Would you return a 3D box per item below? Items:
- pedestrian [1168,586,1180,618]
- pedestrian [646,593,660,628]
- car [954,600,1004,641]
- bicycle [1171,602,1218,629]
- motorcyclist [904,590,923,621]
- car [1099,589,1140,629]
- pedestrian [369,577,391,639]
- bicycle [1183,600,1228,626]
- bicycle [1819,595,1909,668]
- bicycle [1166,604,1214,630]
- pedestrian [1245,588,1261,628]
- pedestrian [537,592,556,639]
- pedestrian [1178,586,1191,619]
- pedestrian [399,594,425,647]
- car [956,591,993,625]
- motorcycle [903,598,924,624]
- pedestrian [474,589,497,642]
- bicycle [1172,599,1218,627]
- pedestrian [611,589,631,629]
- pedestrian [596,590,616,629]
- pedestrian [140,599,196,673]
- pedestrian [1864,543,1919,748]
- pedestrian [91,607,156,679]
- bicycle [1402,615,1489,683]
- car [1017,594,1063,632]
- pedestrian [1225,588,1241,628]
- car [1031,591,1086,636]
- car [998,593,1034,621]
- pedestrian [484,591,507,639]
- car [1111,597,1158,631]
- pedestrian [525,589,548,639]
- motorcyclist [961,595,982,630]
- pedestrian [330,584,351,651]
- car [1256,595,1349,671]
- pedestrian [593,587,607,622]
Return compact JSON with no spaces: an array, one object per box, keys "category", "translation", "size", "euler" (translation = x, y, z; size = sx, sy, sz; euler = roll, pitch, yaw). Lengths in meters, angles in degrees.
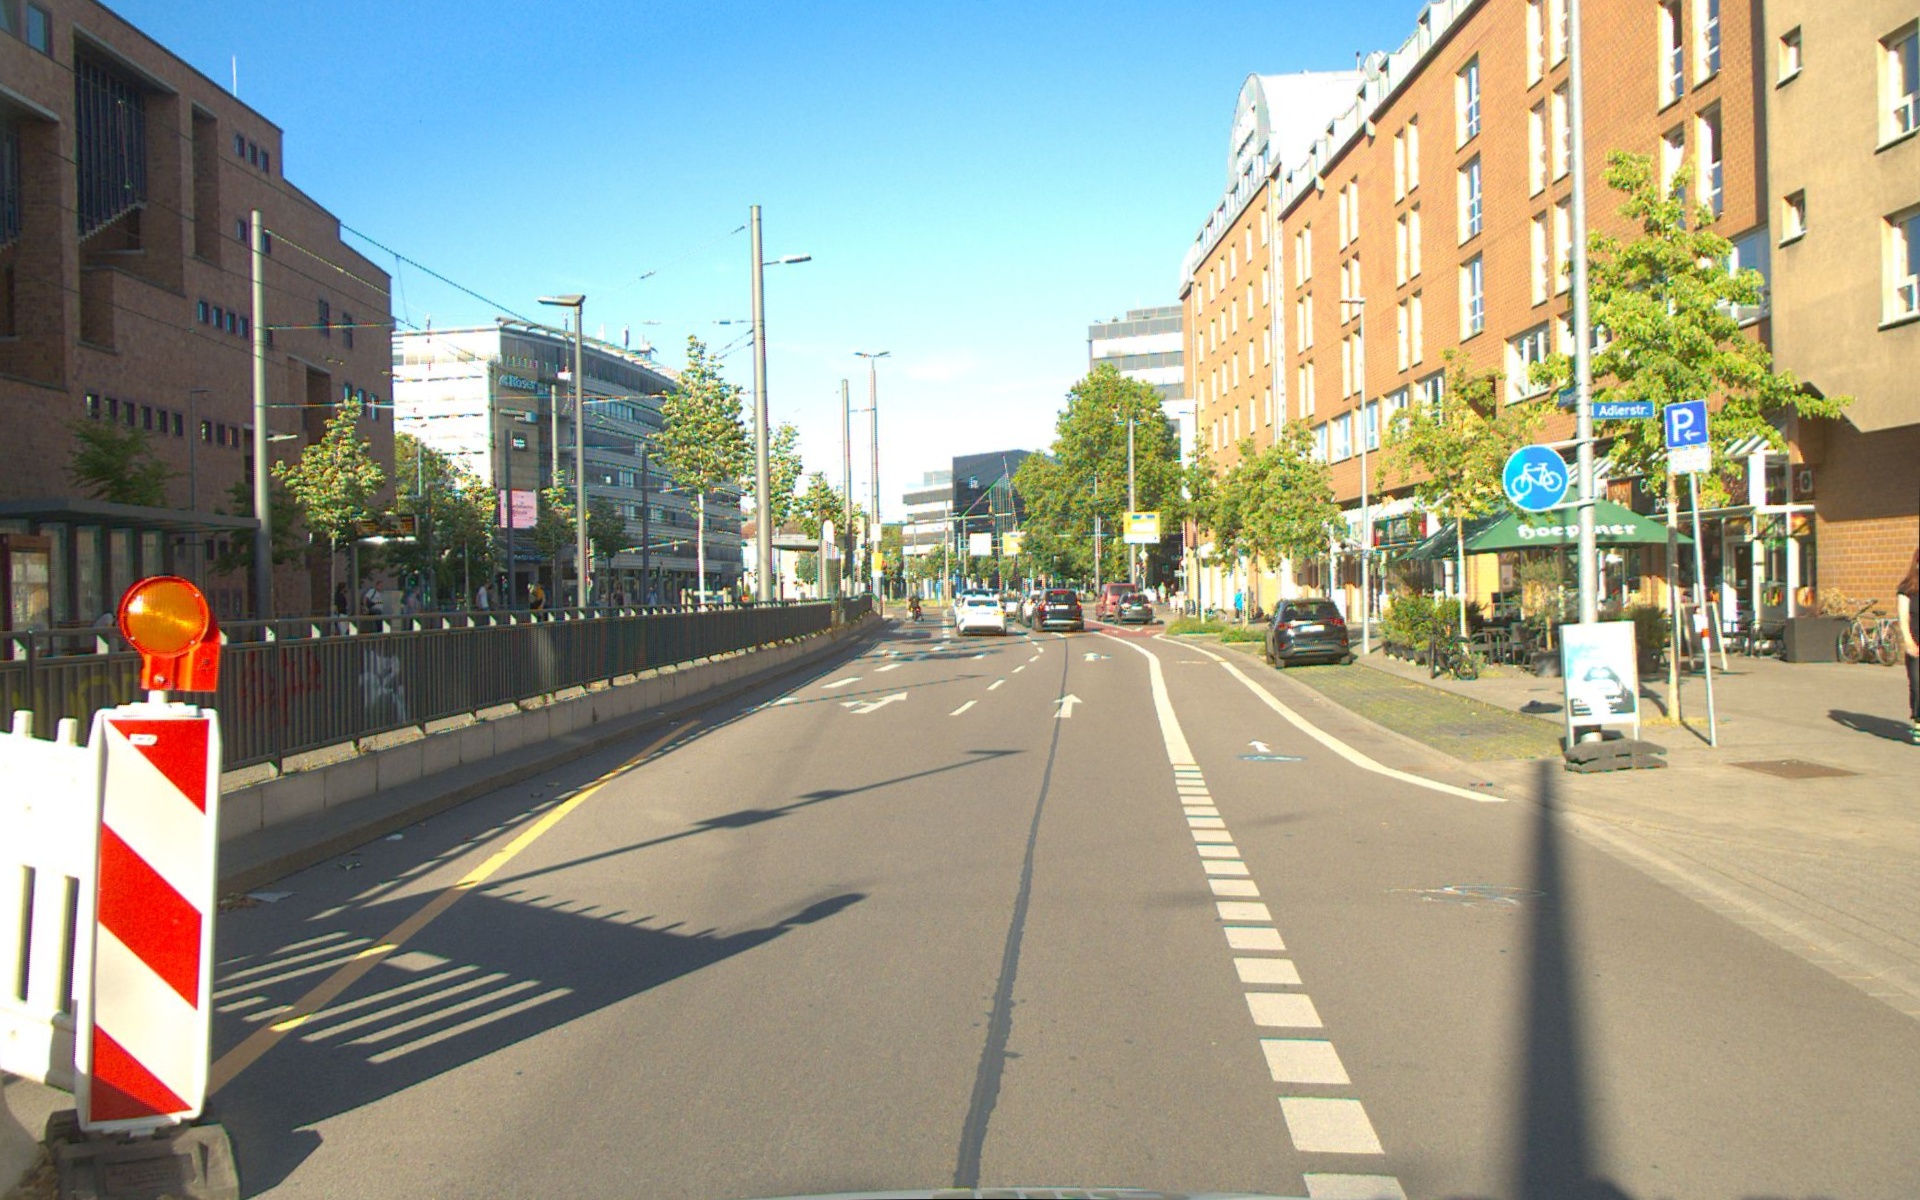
[{"category":"pedestrian","translation":[12.876,0.117,99.376],"size":[0.594,1.853,0.748],"euler":[-1,0,-1]},{"category":"pedestrian","translation":[-16.606,0.567,89.417],"size":[0.601,1.849,0.897],"euler":[0,0,0]},{"category":"car","translation":[0.682,0.740,62.940],"size":[1.744,1.439,4.818],"euler":[1,0,-1]},{"category":"bicycle","translation":[9.982,0.666,70.348],"size":[1.903,1.094,0.555],"euler":[-2,-1,10]},{"category":"motorcyclist","translation":[-2.481,0.278,88.596],"size":[0.998,1.631,1.148],"euler":[1,0,0]},{"category":"car","translation":[8.398,0.444,87.381],"size":[1.822,1.995,4.000],"euler":[-1,0,1]},{"category":"pedestrian","translation":[-15.597,0.205,44.492],"size":[0.370,1.649,0.553],"euler":[1,0,0]},{"category":"bicycle","translation":[10.893,0.585,73.264],"size":[1.903,1.093,0.626],"euler":[-2,-1,11]},{"category":"bicycle","translation":[15.536,0.520,28.461],"size":[0.601,1.190,1.536],"euler":[-2,0,-4]},{"category":"bicycle","translation":[9.623,0.712,69.119],"size":[1.904,1.040,0.502],"euler":[-2,-1,17]},{"category":"pedestrian","translation":[13.980,0.380,78.975],"size":[0.594,1.853,0.748],"euler":[-1,0,-1]},{"category":"pedestrian","translation":[-15.606,0.584,62.395],"size":[0.570,1.768,0.616],"euler":[0,0,0]},{"category":"pedestrian","translation":[12.977,0.136,95.650],"size":[0.594,1.853,0.748],"euler":[-1,0,-1]},{"category":"pedestrian","translation":[-15.664,0.578,47.273],"size":[0.528,1.485,0.642],"euler":[1,0,0]},{"category":"car","translation":[0.658,0.353,77.332],"size":[1.658,1.523,4.408],"euler":[1,0,0]},{"category":"motorcycle","translation":[-2.479,0.561,88.573],"size":[0.998,1.335,2.914],"euler":[1,0,0]},{"category":"pedestrian","translation":[-15.912,0.518,55.457],"size":[0.610,1.744,0.616],"euler":[0,0,0]},{"category":"bicycle","translation":[10.077,0.555,70.871],"size":[1.903,1.157,0.491],"euler":[-2,-1,10]},{"category":"pedestrian","translation":[-14.303,0.374,69.817],"size":[0.627,1.672,0.945],"euler":[1,0,0]},{"category":"pedestrian","translation":[-14.951,0.382,69.833],"size":[0.627,1.636,0.945],"euler":[1,0,0]},{"category":"pedestrian","translation":[-14.799,0.663,30.928],"size":[0.633,1.331,0.721],"euler":[-3,0,-1]},{"category":"pedestrian","translation":[8.743,0.386,14.903],"size":[0.866,1.794,1.105],"euler":[-3,-1,24]},{"category":"pedestrian","translation":[-14.608,0.744,28.892],"size":[0.706,1.188,0.721],"euler":[-3,0,-1]},{"category":"bicycle","translation":[8.686,0.873,29.681],"size":[0.750,1.100,1.996],"euler":[-6,-1,-4]},{"category":"car","translation":[3.637,0.586,76.071],"size":[1.813,1.668,4.378],"euler":[0,0,-1]},{"category":"pedestrian","translation":[12.946,0.366,78.401],"size":[0.594,1.853,0.748],"euler":[-1,0,-1]},{"category":"car","translation":[4.047,0.531,68.555],"size":[1.934,1.790,4.632],"euler":[1,0,0]},{"category":"car","translation":[3.124,0.386,93.084],"size":[1.813,1.524,4.378],"euler":[0,0,-1]},{"category":"pedestrian","translation":[-15.883,0.511,56.503],"size":[0.610,1.640,0.616],"euler":[0,0,0]},{"category":"car","translation":[8.513,0.645,81.044],"size":[1.809,1.588,4.632],"euler":[1,0,0]},{"category":"pedestrian","translation":[-14.761,0.489,57.671],"size":[0.627,1.725,0.541],"euler":[1,0,-1]},{"category":"motorcyclist","translation":[0.499,0.537,71.690],"size":[0.820,1.501,1.236],"euler":[-1,0,-2]},{"category":"pedestrian","translation":[-15.666,0.450,41.834],"size":[0.370,1.677,0.416],"euler":[1,0,0]},{"category":"car","translation":[8.145,0.750,39.605],"size":[1.684,1.665,4.234],"euler":[-2,0,5]},{"category":"pedestrian","translation":[-16.925,0.227,77.803],"size":[0.552,1.637,0.616],"euler":[0,0,0]}]
